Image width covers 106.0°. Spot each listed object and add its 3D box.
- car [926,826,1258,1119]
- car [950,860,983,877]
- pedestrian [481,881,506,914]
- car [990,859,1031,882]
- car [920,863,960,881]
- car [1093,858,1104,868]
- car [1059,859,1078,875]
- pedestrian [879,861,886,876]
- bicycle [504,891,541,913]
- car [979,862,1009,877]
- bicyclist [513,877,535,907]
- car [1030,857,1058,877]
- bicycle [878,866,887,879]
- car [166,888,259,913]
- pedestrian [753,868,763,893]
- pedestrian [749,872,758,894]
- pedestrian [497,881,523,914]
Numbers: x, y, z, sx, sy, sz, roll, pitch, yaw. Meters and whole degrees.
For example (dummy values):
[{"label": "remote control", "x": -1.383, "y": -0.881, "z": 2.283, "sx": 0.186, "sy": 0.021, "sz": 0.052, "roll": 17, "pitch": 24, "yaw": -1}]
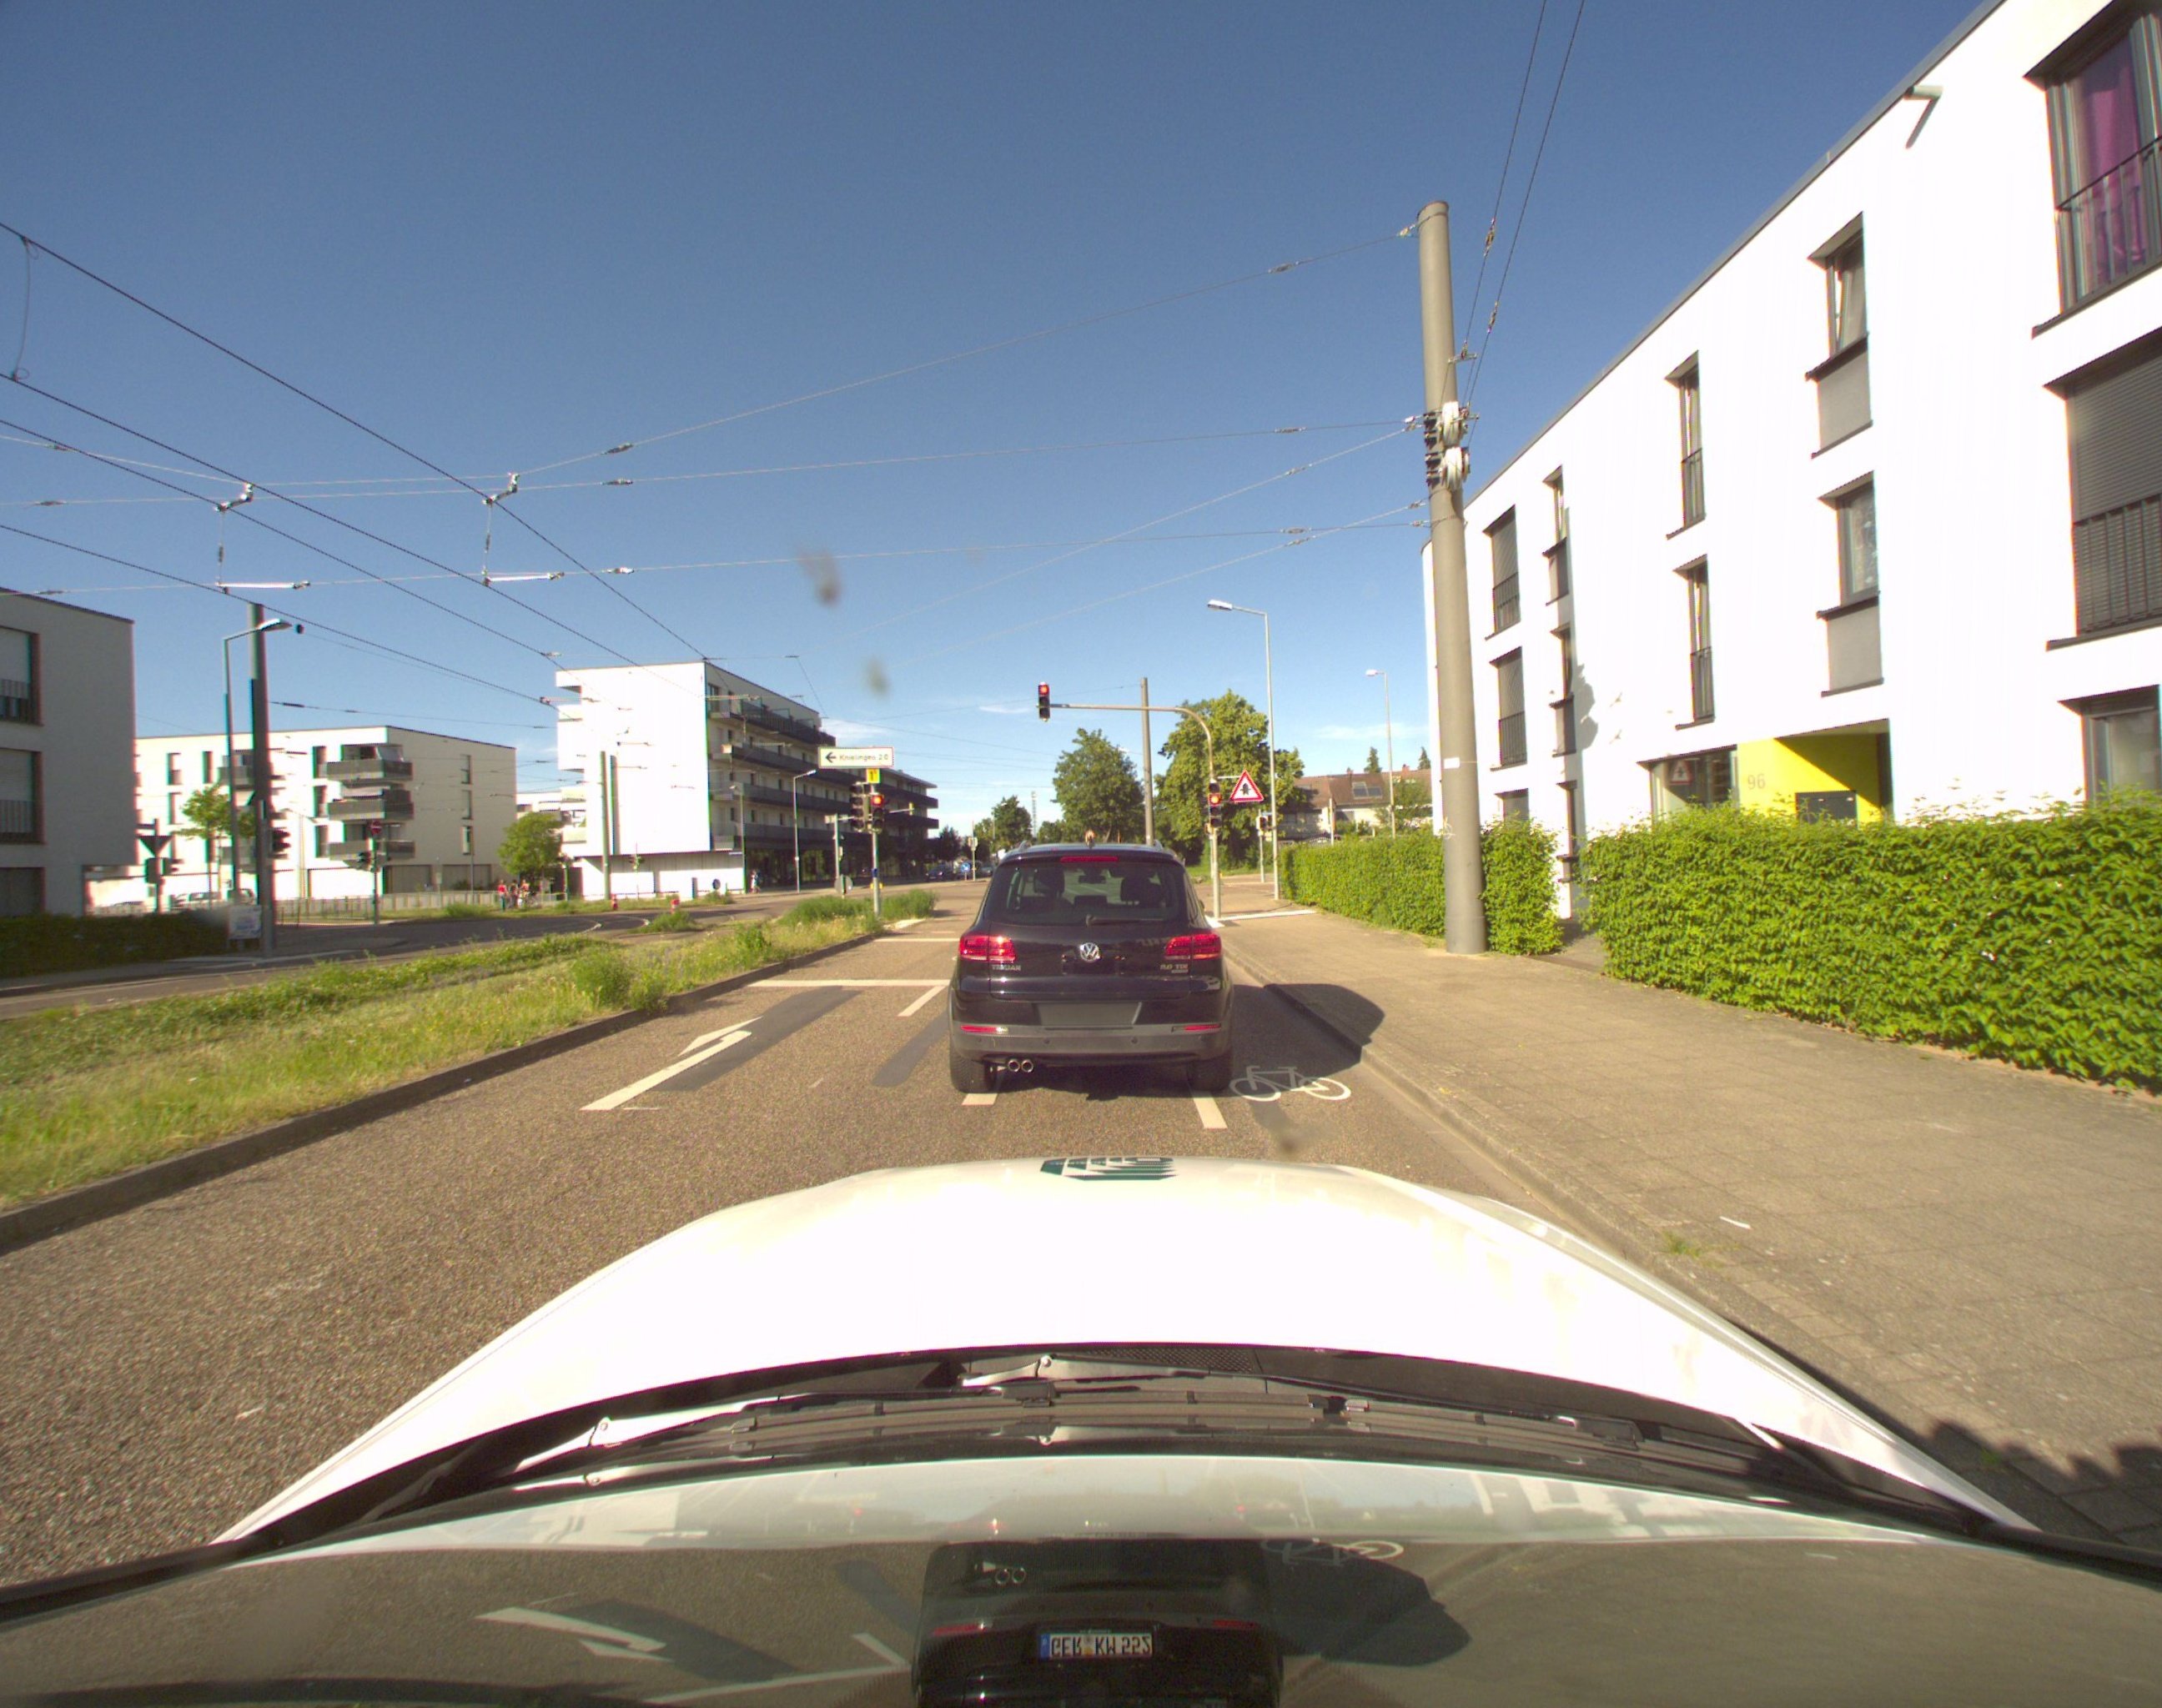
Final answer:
[{"label": "car", "x": 0.124, "y": 0.686, "z": 6.602, "sx": 1.862, "sy": 1.637, "sz": 4.001, "roll": 0, "pitch": -1, "yaw": 2}, {"label": "car", "x": -11.167, "y": 1.387, "z": 79.997, "sx": 1.981, "sy": 1.574, "sz": 4.350, "roll": -1, "pitch": -1, "yaw": 9}, {"label": "pedestrian", "x": -29.776, "y": 2.202, "z": 41.293, "sx": 0.770, "sy": 1.605, "sz": 0.741, "roll": 0, "pitch": -1, "yaw": -5}, {"label": "car", "x": -4.919, "y": 1.116, "z": 57.482, "sx": 1.852, "sy": 1.485, "sz": 4.121, "roll": -3, "pitch": 0, "yaw": 9}, {"label": "car", "x": -12.390, "y": 1.571, "z": 71.886, "sx": 1.980, "sy": 1.574, "sz": 4.353, "roll": -1, "pitch": -1, "yaw": 11}, {"label": "car", "x": 3.053, "y": 1.609, "z": 143.470, "sx": 1.987, "sy": 1.684, "sz": 4.000, "roll": 0, "pitch": -1, "yaw": 0}, {"label": "car", "x": -1.509, "y": 1.587, "z": 99.452, "sx": 1.984, "sy": 1.836, "sz": 4.005, "roll": 0, "pitch": -1, "yaw": 4}, {"label": "pedestrian", "x": -20.066, "y": 1.492, "z": 82.301, "sx": 0.642, "sy": 1.509, "sz": 0.594, "roll": 0, "pitch": -1, "yaw": -8}, {"label": "bicycle", "x": -30.697, "y": 2.613, "z": 44.800, "sx": 0.818, "sy": 1.124, "sz": 1.858, "roll": 0, "pitch": -1, "yaw": -4}, {"label": "car", "x": -9.197, "y": 1.649, "z": 86.473, "sx": 1.981, "sy": 1.574, "sz": 4.350, "roll": -1, "pitch": -1, "yaw": 9}, {"label": "bicyclist", "x": -30.701, "y": 2.082, "z": 44.871, "sx": 0.781, "sy": 1.614, "sz": 0.640, "roll": 0, "pitch": -1, "yaw": -4}, {"label": "car", "x": -3.294, "y": 1.176, "z": 73.883, "sx": 1.854, "sy": 1.720, "sz": 3.694, "roll": -2, "pitch": 0, "yaw": 7}, {"label": "bicycle", "x": -20.042, "y": 1.847, "z": 82.244, "sx": 0.629, "sy": 1.332, "sz": 1.908, "roll": 0, "pitch": -1, "yaw": -7}, {"label": "car", "x": -58.843, "y": 3.169, "z": 55.207, "sx": 4.305, "sy": 1.574, "sz": 2.002, "roll": 0, "pitch": -1, "yaw": 4}, {"label": "pedestrian", "x": -23.138, "y": 1.914, "z": 58.307, "sx": 0.542, "sy": 1.744, "sz": 0.517, "roll": 0, "pitch": -1, "yaw": -4}, {"label": "pedestrian", "x": -23.161, "y": 2.036, "z": 57.621, "sx": 0.440, "sy": 1.503, "sz": 0.517, "roll": 0, "pitch": -1, "yaw": -4}, {"label": "pedestrian", "x": -28.950, "y": 2.196, "z": 41.299, "sx": 0.770, "sy": 1.605, "sz": 0.741, "roll": 0, "pitch": -1, "yaw": -5}]
